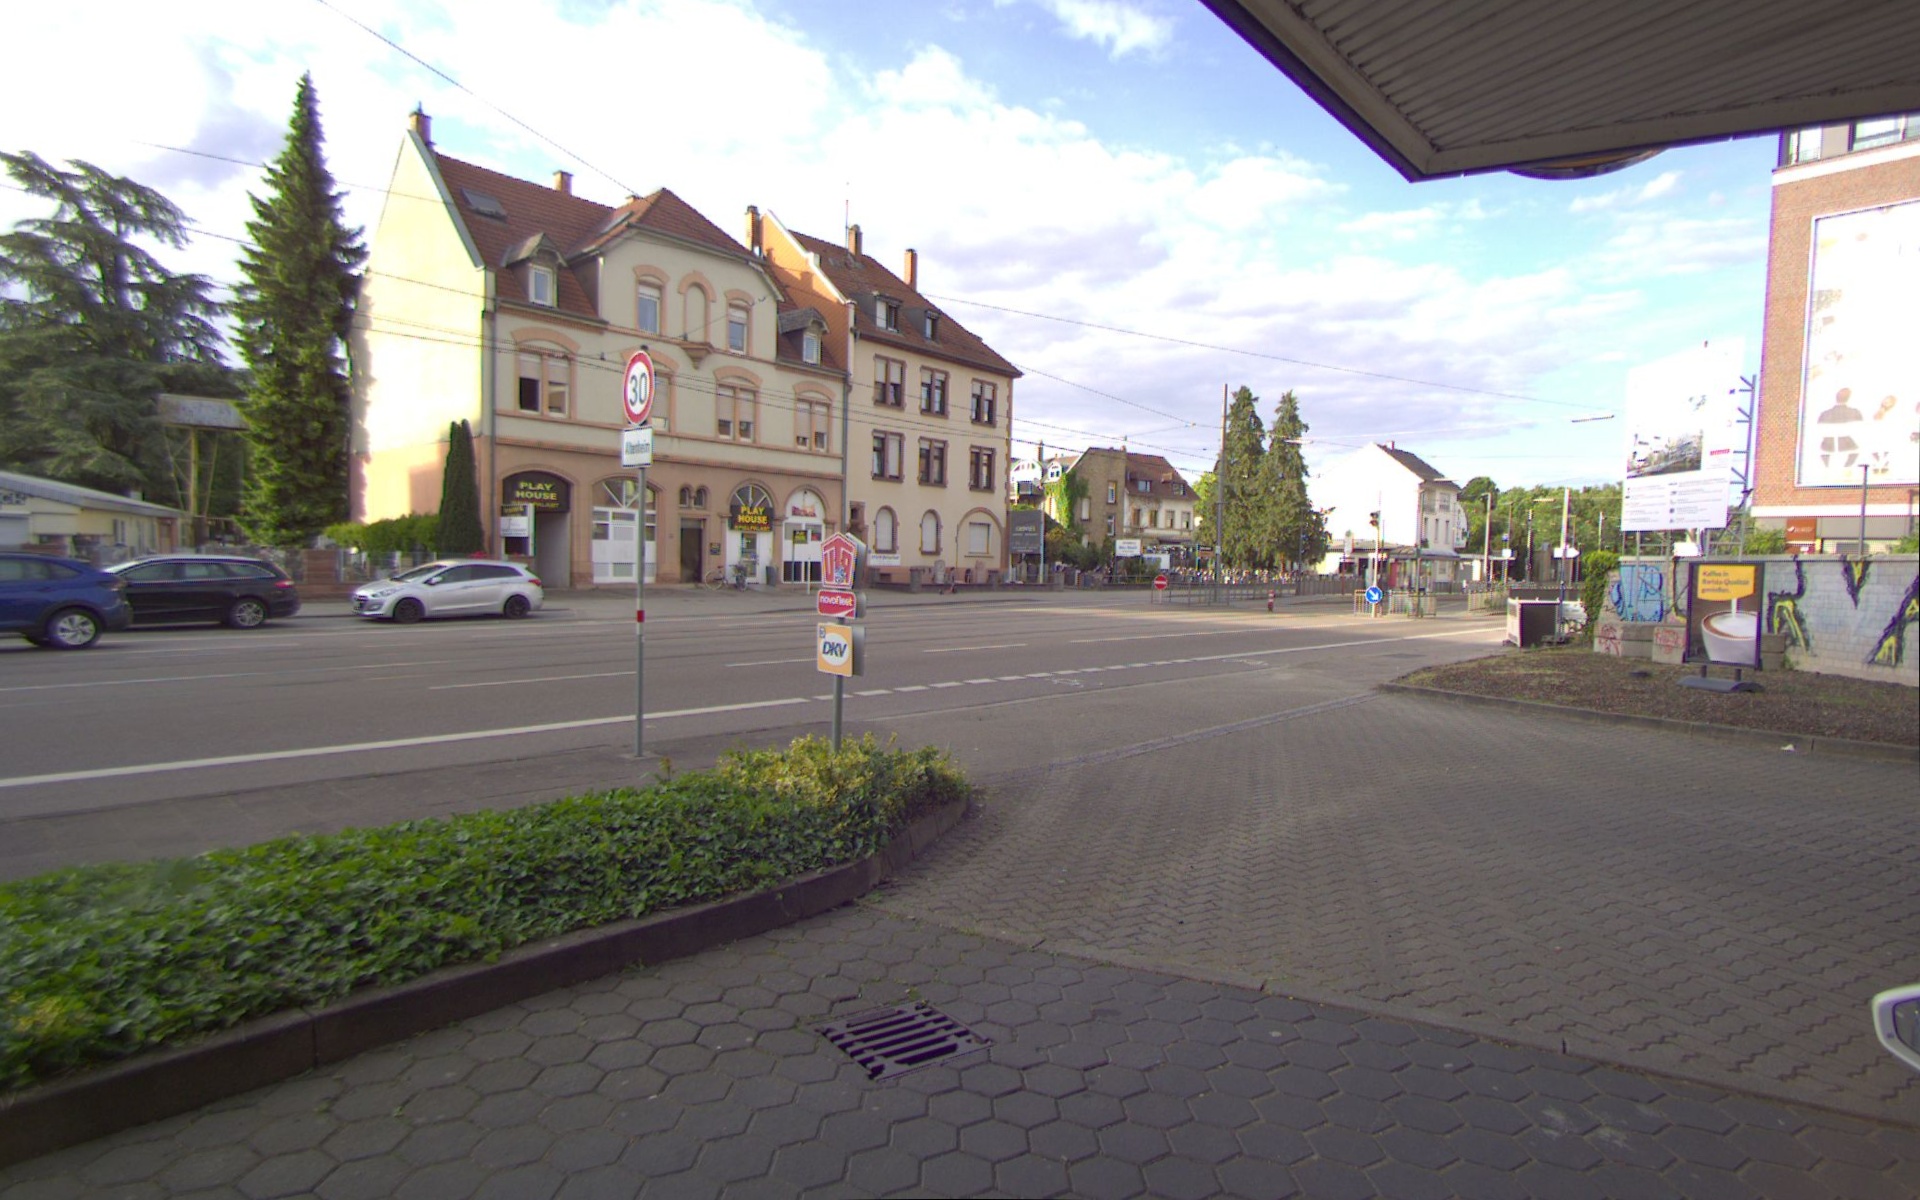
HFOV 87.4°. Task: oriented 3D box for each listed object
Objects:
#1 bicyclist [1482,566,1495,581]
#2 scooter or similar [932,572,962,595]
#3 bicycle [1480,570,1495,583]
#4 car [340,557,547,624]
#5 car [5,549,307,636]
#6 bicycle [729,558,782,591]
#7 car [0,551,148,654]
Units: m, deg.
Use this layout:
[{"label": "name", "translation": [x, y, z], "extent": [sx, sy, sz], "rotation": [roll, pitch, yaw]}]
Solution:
[{"label": "bicyclist", "translation": [53.441, -2.653, 101.639], "extent": [0.915, 1.428, 0.742], "rotation": [-1, 9, -45]}, {"label": "scooter or similar", "translation": [-0.569, -0.726, 45.097], "extent": [0.437, 1.006, 1.460], "rotation": [6, 5, 41]}, {"label": "bicycle", "translation": [53.376, -2.337, 101.620], "extent": [1.809, 1.219, 0.742], "rotation": [-1, 9, -45]}, {"label": "car", "translation": [-12.930, -0.256, 25.359], "extent": [1.718, 1.502, 4.357], "rotation": [3, 2, 41]}, {"label": "car", "translation": [-16.487, -0.178, 20.821], "extent": [1.827, 1.542, 4.642], "rotation": [5, 4, 40]}, {"label": "bicycle", "translation": [-8.250, -1.011, 40.631], "extent": [0.741, 1.219, 2.011], "rotation": [8, 5, 41]}, {"label": "car", "translation": [-15.013, 0.014, 15.026], "extent": [1.833, 1.489, 4.124], "rotation": [3, 3, 35]}]
